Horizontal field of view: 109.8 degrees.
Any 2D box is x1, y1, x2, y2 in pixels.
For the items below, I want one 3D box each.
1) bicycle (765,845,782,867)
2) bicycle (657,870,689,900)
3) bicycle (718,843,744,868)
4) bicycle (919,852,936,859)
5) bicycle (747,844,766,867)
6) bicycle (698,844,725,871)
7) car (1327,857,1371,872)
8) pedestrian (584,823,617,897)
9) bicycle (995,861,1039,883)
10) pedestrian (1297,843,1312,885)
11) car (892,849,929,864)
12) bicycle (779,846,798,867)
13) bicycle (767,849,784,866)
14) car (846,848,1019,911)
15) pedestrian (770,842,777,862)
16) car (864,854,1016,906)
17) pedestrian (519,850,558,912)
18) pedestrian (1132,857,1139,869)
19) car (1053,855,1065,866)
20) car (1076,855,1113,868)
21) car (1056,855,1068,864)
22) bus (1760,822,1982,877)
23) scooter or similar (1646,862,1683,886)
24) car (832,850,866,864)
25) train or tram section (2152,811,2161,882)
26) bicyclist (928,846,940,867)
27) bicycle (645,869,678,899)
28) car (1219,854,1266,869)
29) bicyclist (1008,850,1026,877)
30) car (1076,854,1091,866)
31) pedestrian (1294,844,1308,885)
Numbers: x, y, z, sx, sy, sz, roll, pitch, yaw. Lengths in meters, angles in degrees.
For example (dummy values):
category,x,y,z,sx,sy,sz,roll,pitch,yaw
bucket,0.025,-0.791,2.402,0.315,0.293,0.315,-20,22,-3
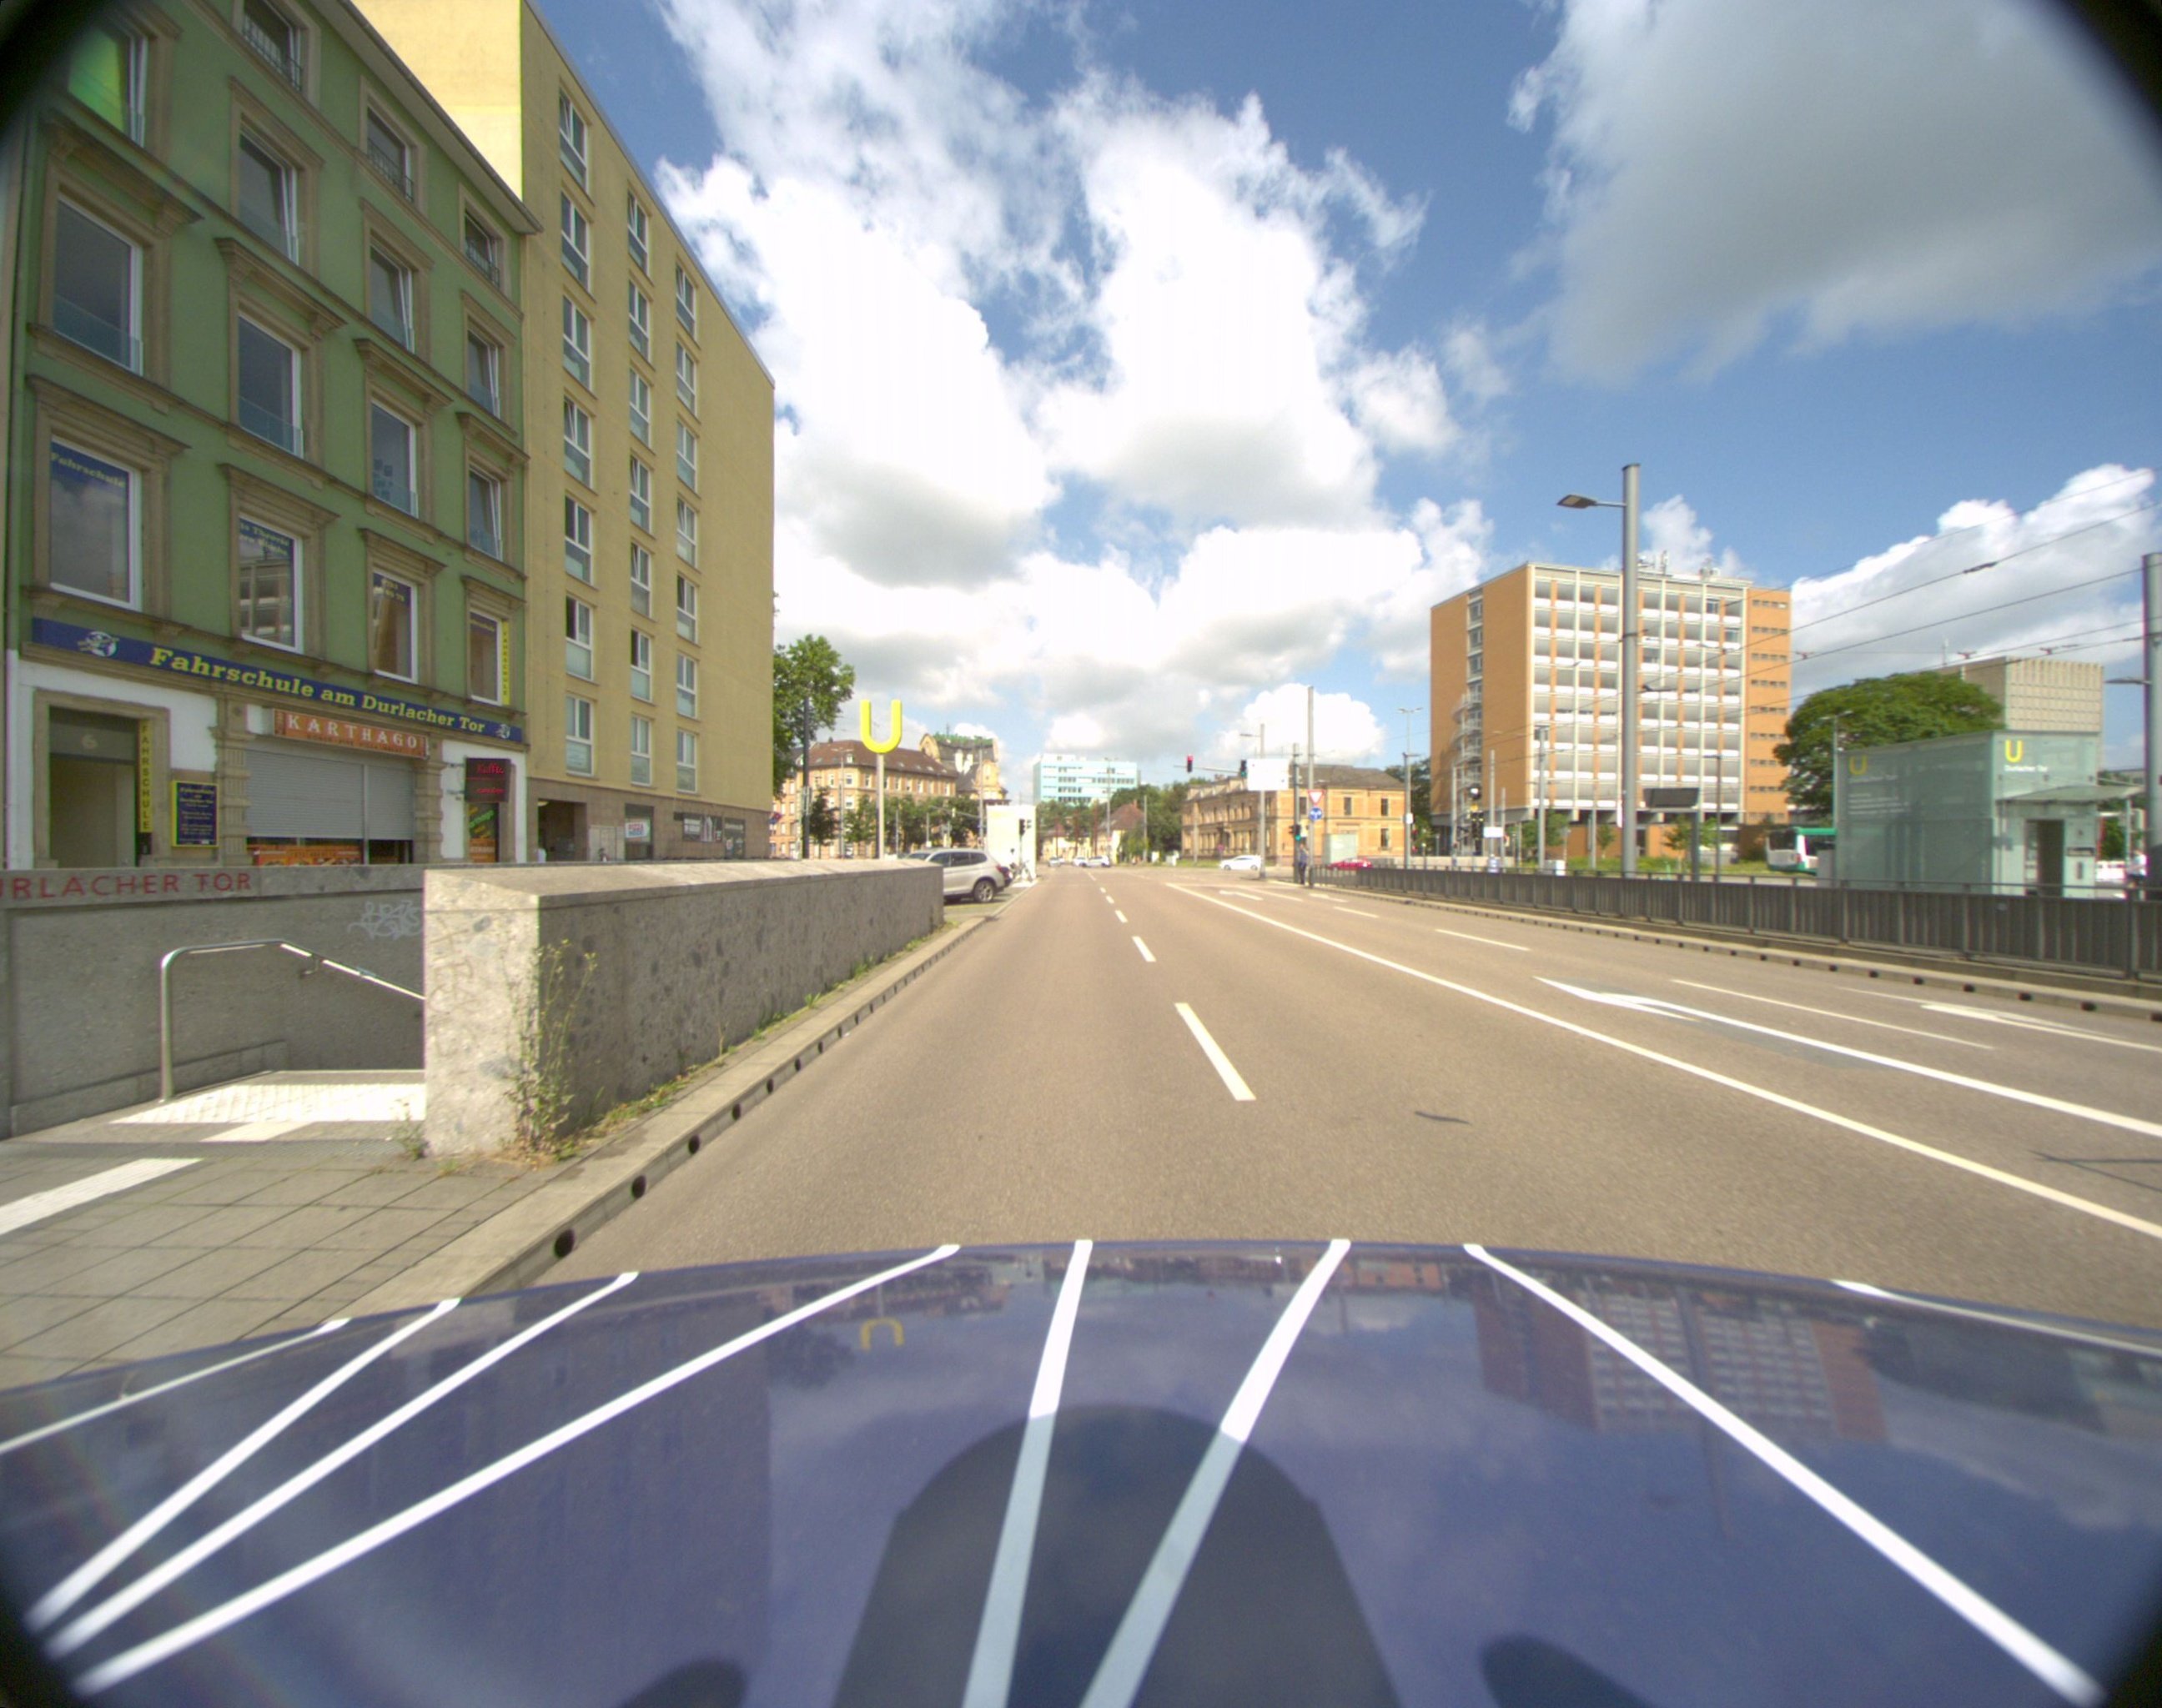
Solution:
category,x,y,z,sx,sy,sz,roll,pitch,yaw
bicycle,-12.949,0.086,32.005,0.293,0.917,1.610,0,-1,-9
bicycle,-12.885,0.954,24.013,0.293,0.917,1.464,0,-1,-3
bicycle,-13.116,0.061,28.471,0.293,0.917,1.464,0,0,0
bicycle,-23.483,0.225,116.165,2.677,1.159,0.763,1,1,33
bicycle,-13.320,0.067,31.237,0.293,0.917,1.452,0,0,-5
bicycle,-12.952,0.128,26.669,0.293,0.917,1.464,0,-1,-3
car,26.874,1.085,76.213,4.057,1.458,1.649,-1,-2,14
pedestrian,-13.220,0.167,20.907,0.603,2.001,0.460,0,-1,0
bicycle,-3.197,0.895,37.888,2.096,1.099,0.545,-1,-2,15
pedestrian,10.752,0.480,36.586,0.503,2.002,0.515,0,1,-12
car,-18.570,0.286,82.571,3.725,1.565,2.004,1,1,37
bicycle,-12.862,0.100,33.421,0.293,0.878,1.463,0,1,-3
bicycle,-13.586,0.160,33.813,0.293,0.734,1.452,0,0,-3
car,-4.272,0.673,22.370,4.606,1.637,2.055,0,1,-43
pedestrian,-49.214,-0.287,121.725,0.885,3.101,0.669,-1,-2,41
car,-4.701,0.840,25.723,4.608,1.451,1.934,-3,0,-40
pedestrian,-14.546,0.713,20.379,0.603,1.609,0.460,3,-1,0
pedestrian,6.930,1.093,96.889,0.543,1.507,0.744,0,0,40
car,-3.283,0.984,113.179,1.838,1.586,4.001,0,-2,-2
car,1.624,0.894,89.632,4.070,1.376,1.591,-1,-2,18
car,-4.814,1.406,194.308,2.001,2.001,3.995,0,-2,-16
bus,53.129,-0.293,51.252,12.371,3.599,2.915,0,0,-3
scooter or similar,28.735,0.973,37.426,0.813,1.160,1.167,0,0,-10
car,-25.457,0.343,83.338,3.646,1.461,1.695,-2,-2,37
train or tram section,56.105,-0.513,33.007,10.579,3.459,3.332,-2,-2,44
bicyclist,-10.013,0.193,51.681,0.655,1.429,0.743,0,1,0
bicycle,-13.343,0.940,24.211,0.293,0.917,1.464,0,-1,-3
car,16.868,0.789,79.229,4.665,1.420,1.766,-1,-2,17
bicyclist,-3.187,0.463,37.890,0.782,1.328,0.395,-1,-1,15
car,0.317,0.863,110.122,1.956,1.586,4.507,0,-2,-2
pedestrian,10.830,0.504,37.408,0.427,2.002,0.578,0,1,-12
